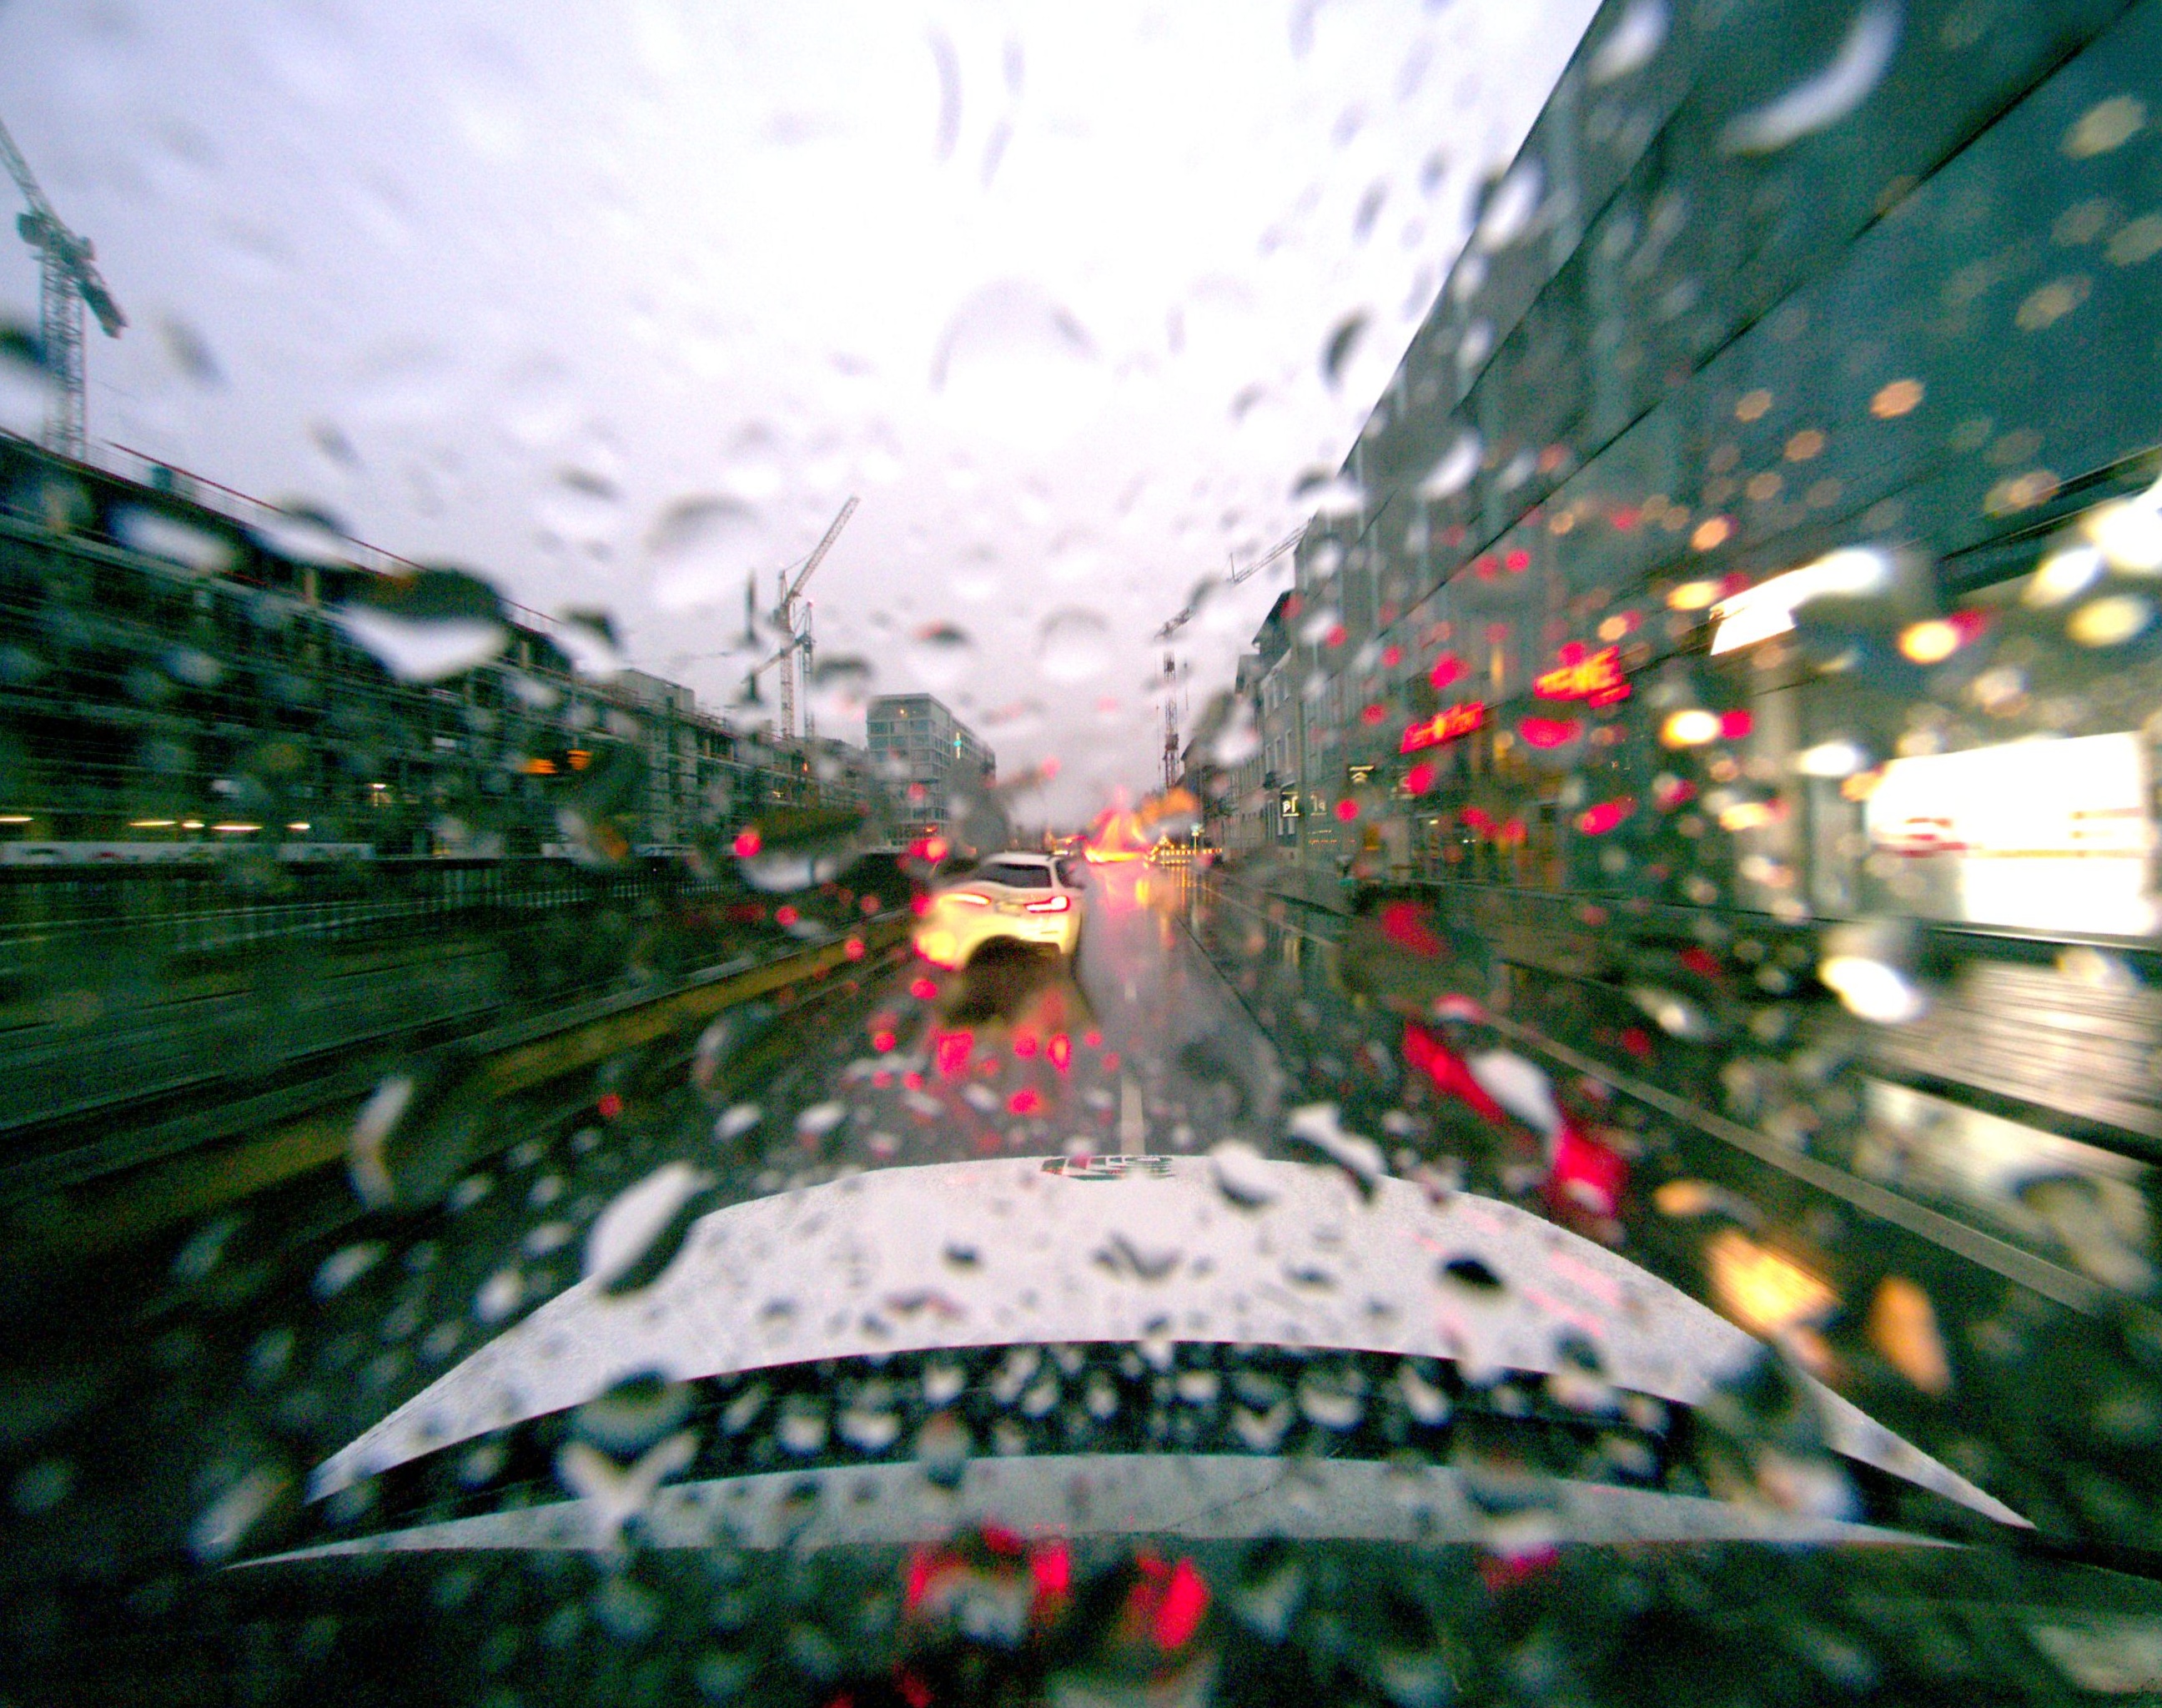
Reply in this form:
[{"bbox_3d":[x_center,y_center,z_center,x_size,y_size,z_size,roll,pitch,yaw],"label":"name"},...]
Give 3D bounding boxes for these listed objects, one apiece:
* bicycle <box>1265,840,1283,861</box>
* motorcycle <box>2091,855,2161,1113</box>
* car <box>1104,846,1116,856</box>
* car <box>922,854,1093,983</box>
[{"bbox_3d":[11.982,-0.220,50.655,0.680,1.222,1.906,-4,0,2],"label":"bicycle"},{"bbox_3d":[6.422,0.657,3.900,1.885,1.333,0.599,-2,-1,43],"label":"motorcycle"},{"bbox_3d":[5.045,-0.555,140.115,1.893,1.641,4.004,-1,0,3],"label":"car"},{"bbox_3d":[-0.839,0.763,12.085,1.844,1.465,4.950,-1,0,3],"label":"car"}]
